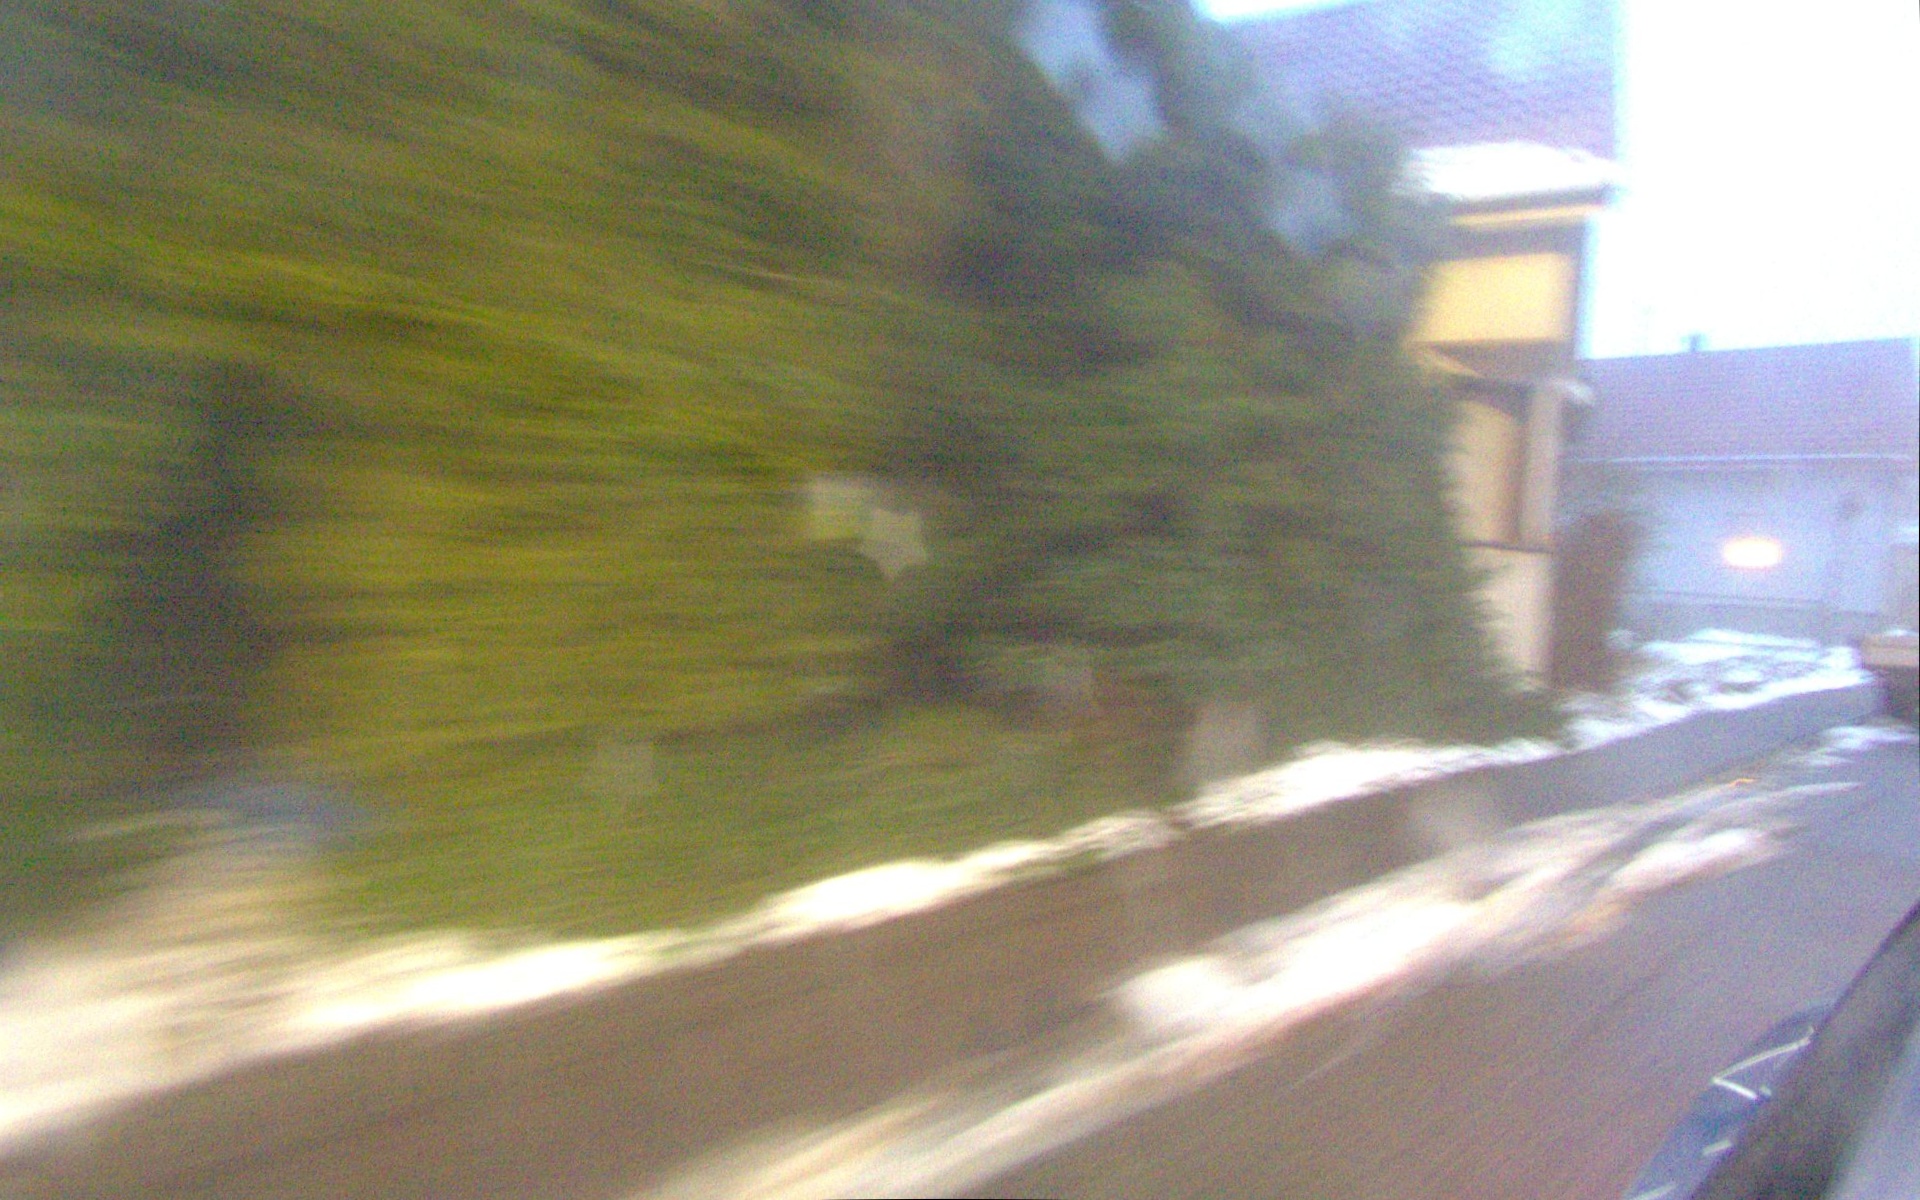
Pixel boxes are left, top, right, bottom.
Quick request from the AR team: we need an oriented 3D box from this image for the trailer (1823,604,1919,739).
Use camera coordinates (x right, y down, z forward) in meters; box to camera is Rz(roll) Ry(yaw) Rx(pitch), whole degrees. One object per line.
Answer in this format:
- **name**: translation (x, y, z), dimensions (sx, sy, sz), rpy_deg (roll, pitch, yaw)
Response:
- **trailer**: translation (12.148, 0.780, 11.936), dimensions (4.643, 1.405, 2.000), rpy_deg (0, 1, -37)
